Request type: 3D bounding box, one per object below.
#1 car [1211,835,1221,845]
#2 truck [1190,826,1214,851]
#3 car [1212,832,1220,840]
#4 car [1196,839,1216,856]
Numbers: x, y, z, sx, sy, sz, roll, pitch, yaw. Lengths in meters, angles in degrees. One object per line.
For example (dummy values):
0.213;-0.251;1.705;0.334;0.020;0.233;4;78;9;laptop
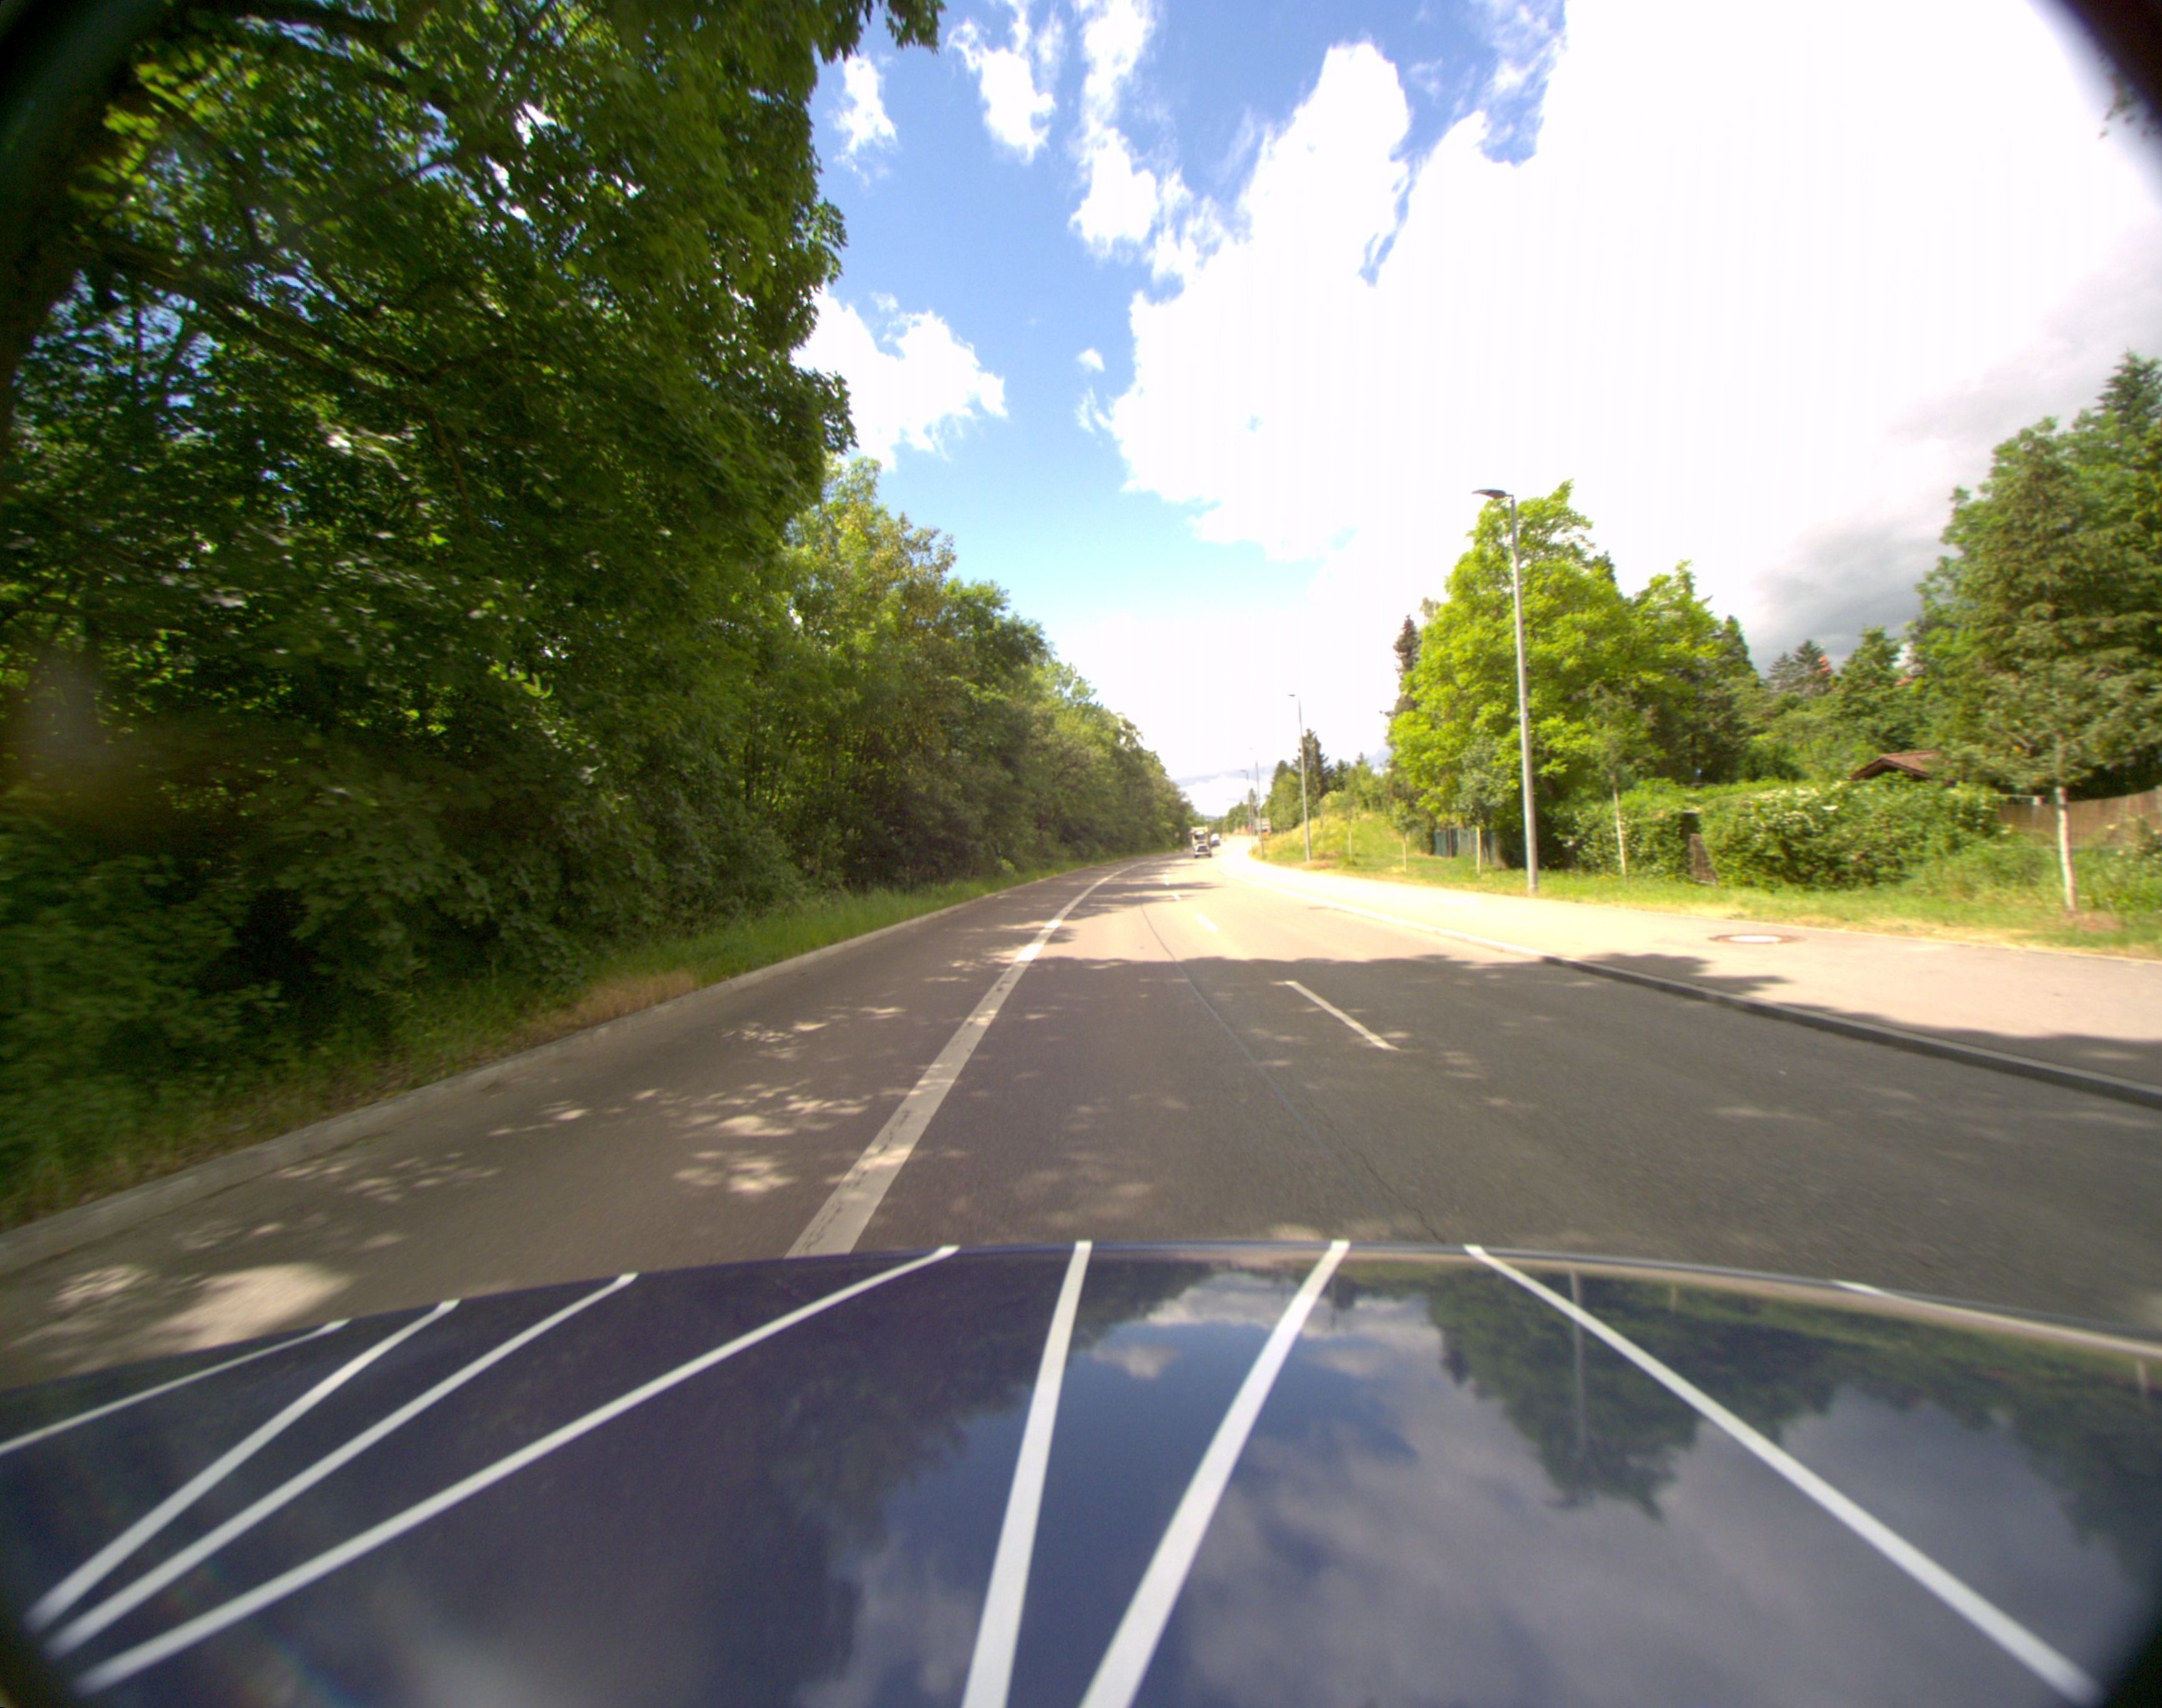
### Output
29.073;-3.086;163.203;1.997;2.002;4.002;-2;1;11;car
20.077;-2.638;125.869;3.238;3.838;9.880;-2;1;12;truck
38.068;-5.121;213.742;1.997;2.212;4.003;-3;0;10;car
13.104;-0.658;79.888;1.802;1.652;4.001;-2;1;7;car
